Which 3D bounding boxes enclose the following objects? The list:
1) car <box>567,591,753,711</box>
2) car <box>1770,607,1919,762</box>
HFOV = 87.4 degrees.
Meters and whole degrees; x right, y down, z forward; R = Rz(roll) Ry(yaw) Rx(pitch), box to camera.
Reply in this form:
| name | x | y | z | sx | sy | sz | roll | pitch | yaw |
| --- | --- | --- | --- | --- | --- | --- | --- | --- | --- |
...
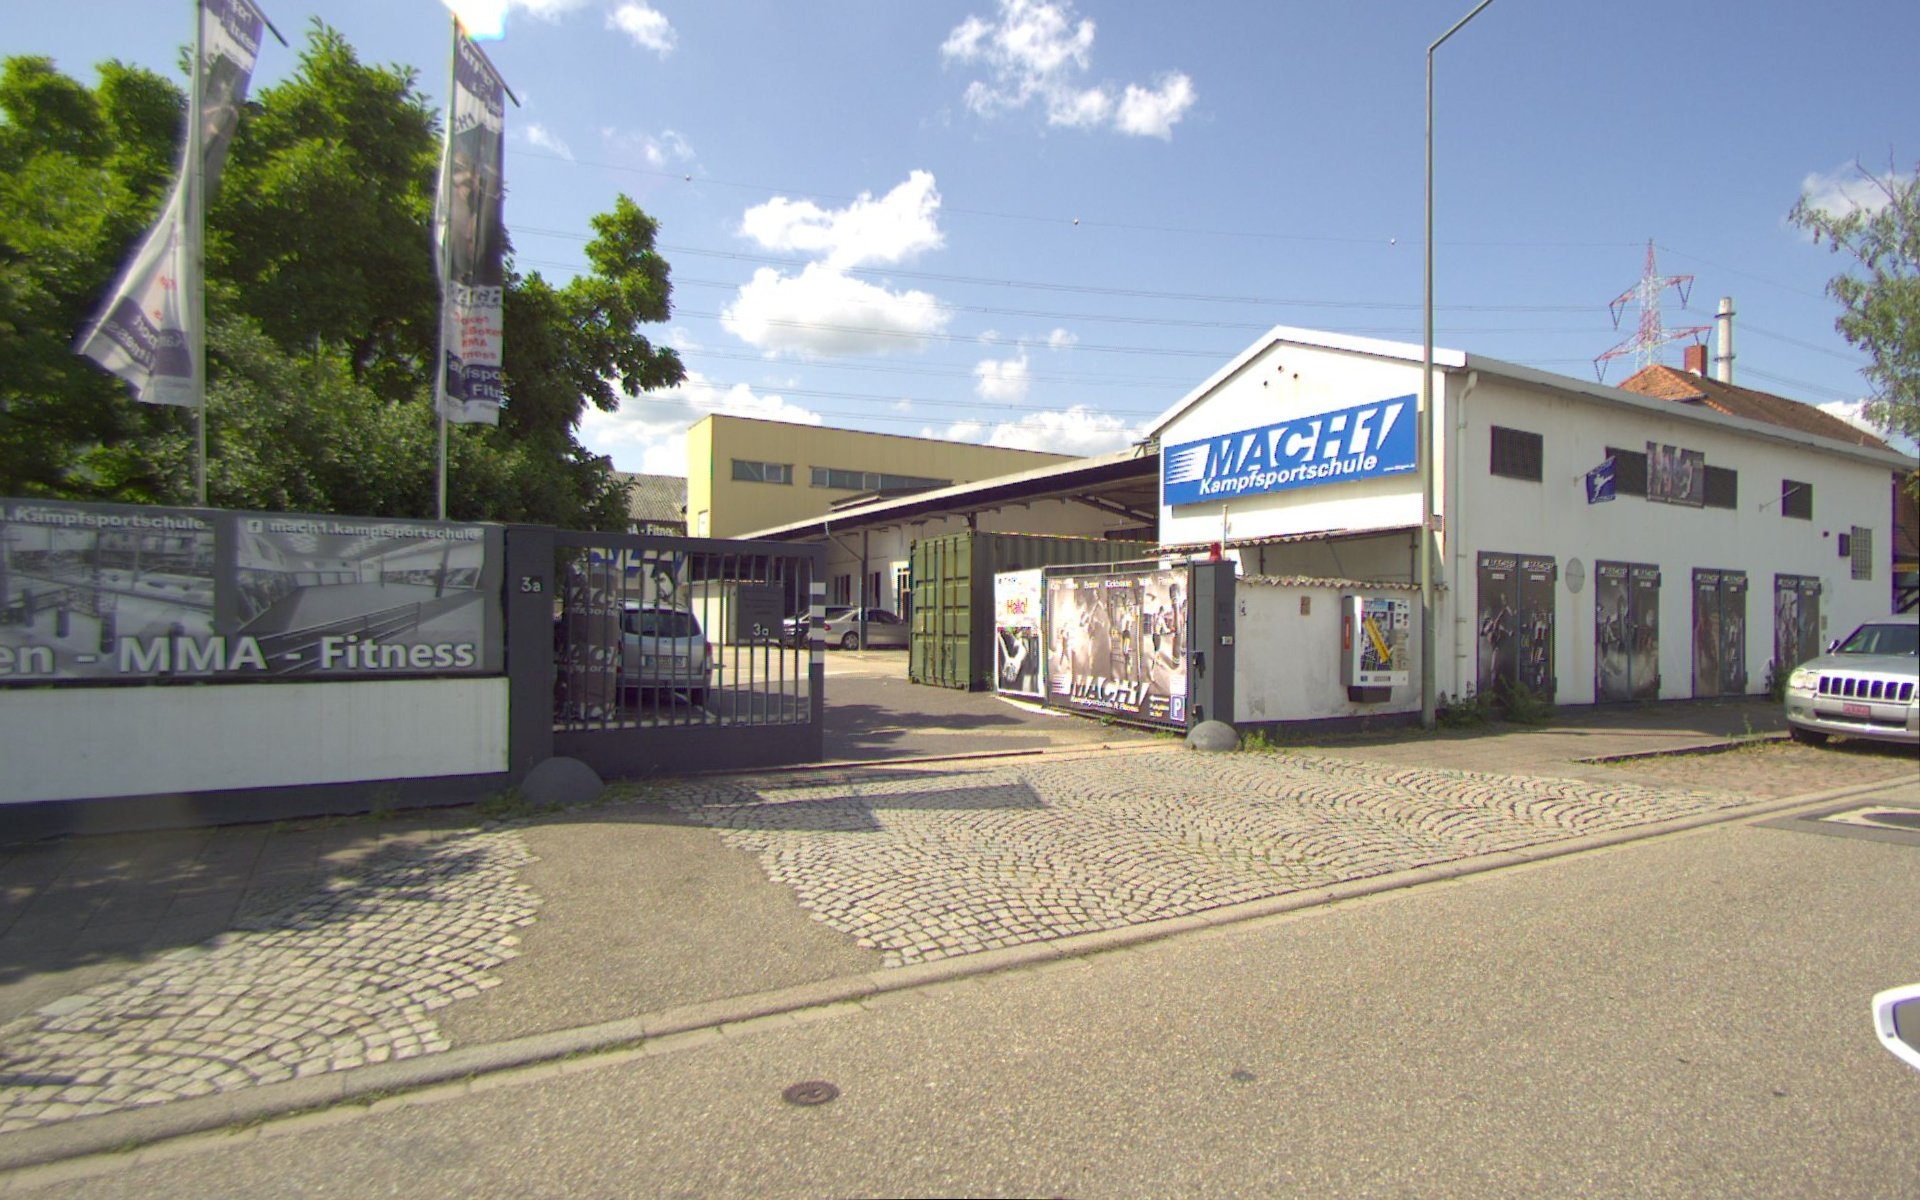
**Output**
| name | x | y | z | sx | sy | sz | roll | pitch | yaw |
| --- | --- | --- | --- | --- | --- | --- | --- | --- | --- |
| car | -4.822 | 0.722 | 15.770 | 1.830 | 1.583 | 3.893 | 4 | -1 | -31 |
| car | 12.850 | 1.034 | 13.237 | 4.695 | 1.742 | 1.782 | 1 | 1 | -30 |
